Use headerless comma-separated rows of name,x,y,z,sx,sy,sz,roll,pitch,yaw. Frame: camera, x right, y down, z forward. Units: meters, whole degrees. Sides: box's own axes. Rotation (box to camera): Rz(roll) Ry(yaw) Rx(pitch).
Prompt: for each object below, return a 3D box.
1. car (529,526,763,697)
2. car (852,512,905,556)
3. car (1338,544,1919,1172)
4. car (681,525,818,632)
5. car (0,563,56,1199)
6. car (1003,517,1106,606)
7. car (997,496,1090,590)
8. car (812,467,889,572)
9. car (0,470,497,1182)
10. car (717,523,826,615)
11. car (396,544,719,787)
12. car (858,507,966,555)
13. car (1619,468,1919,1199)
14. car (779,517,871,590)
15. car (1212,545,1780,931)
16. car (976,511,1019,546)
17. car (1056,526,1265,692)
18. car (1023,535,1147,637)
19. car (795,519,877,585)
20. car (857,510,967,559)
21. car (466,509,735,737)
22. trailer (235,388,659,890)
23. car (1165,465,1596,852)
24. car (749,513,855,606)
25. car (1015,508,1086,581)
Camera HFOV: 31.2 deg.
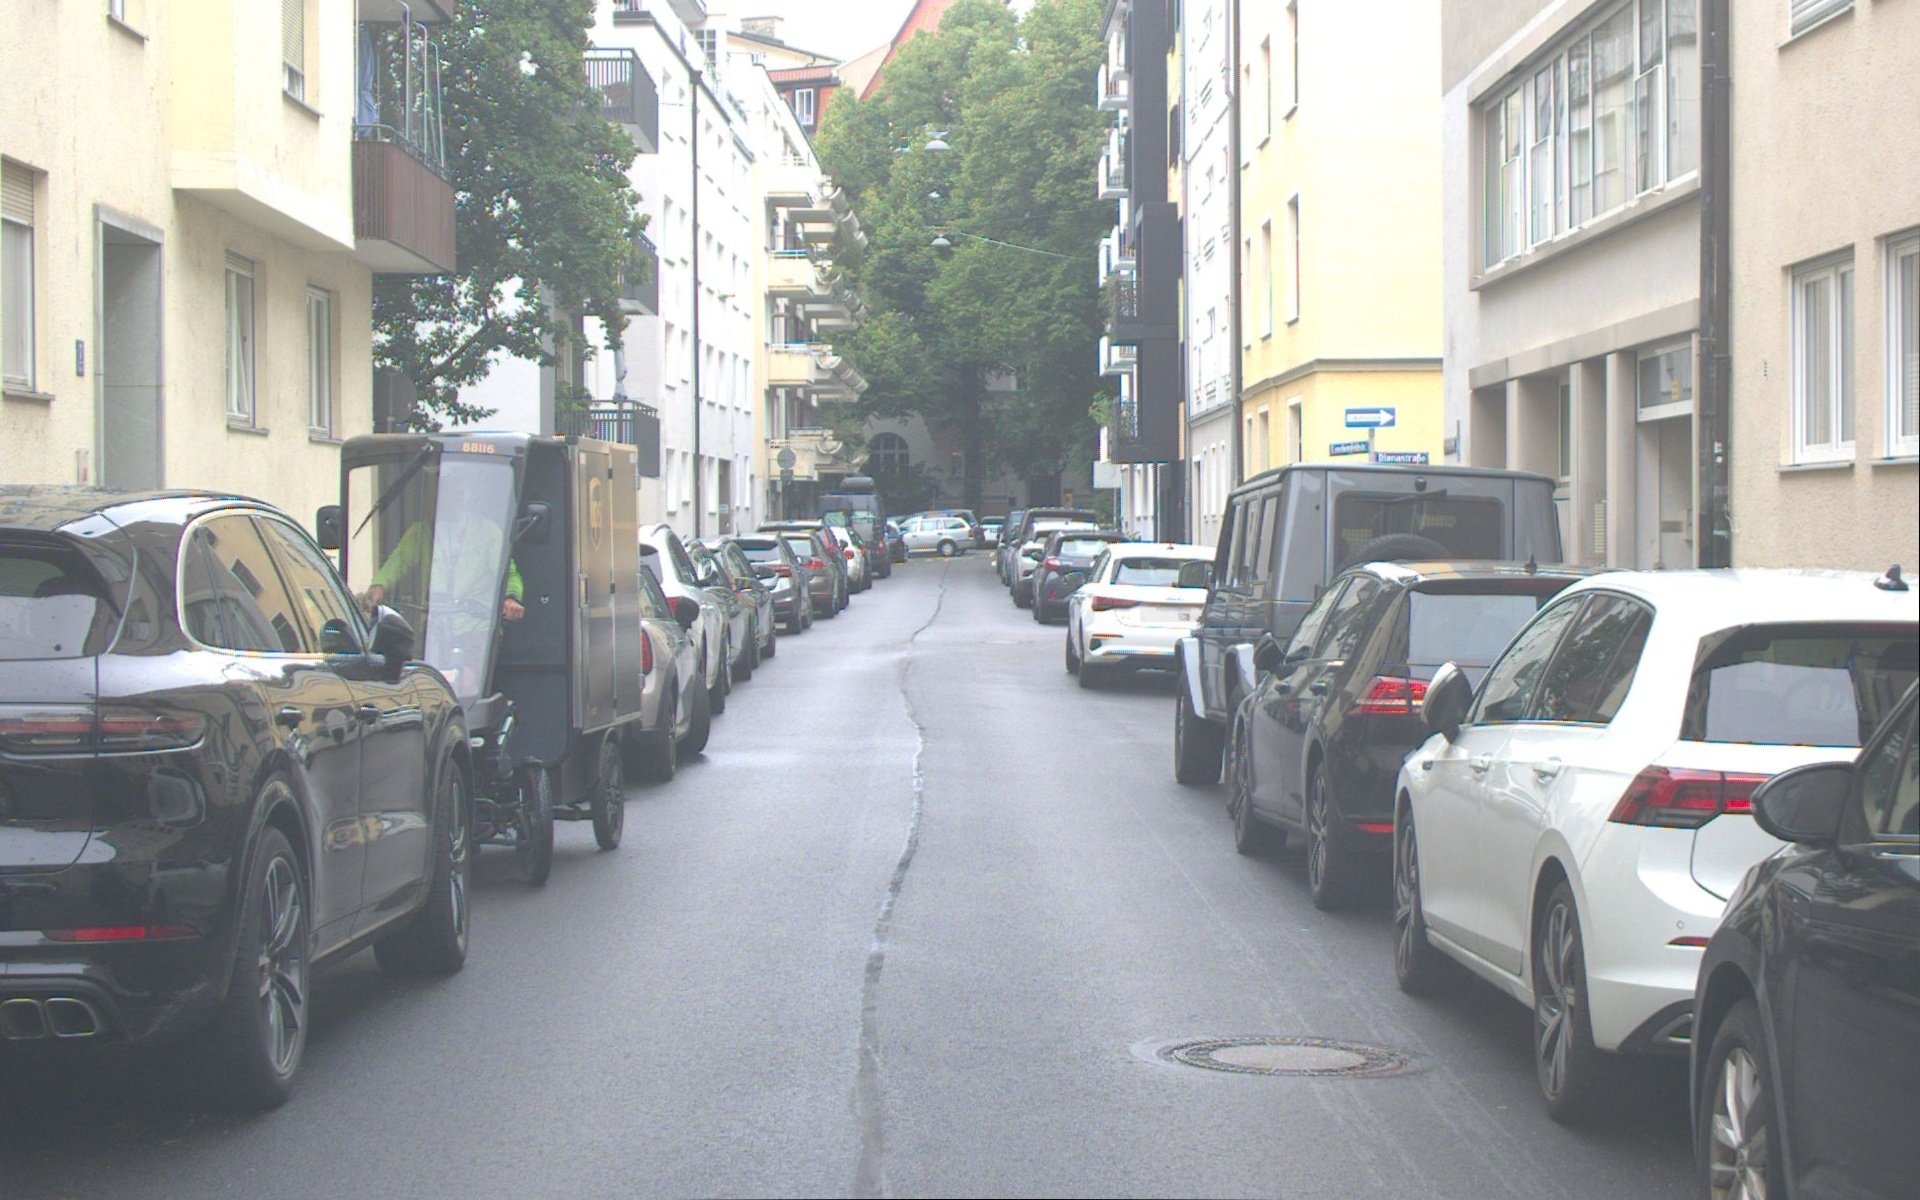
car,-2.977,0.054,33.434,1.766,1.478,4.424,-1,2,1
car,-2.724,-2.238,115.504,1.642,1.379,3.483,-3,1,0
car,2.318,0.593,10.294,1.711,1.481,4.245,1,1,-2
car,-3.038,-0.342,50.163,1.693,1.437,3.942,-1,2,1
car,-2.692,0.697,5.355,1.563,1.455,3.475,-1,1,1
car,1.765,-0.760,65.419,1.682,1.562,4.416,2,2,-1
car,1.742,-1.238,73.164,1.829,1.903,4.416,2,2,0
car,-3.064,-2.279,96.856,1.936,2.792,4.533,-3,1,0
car,-2.675,0.501,10.231,1.879,1.654,4.415,-1,1,1
car,-3.143,-0.551,57.990,1.693,1.437,3.978,-1,2,-1
car,-2.558,0.362,22.600,1.652,1.431,3.803,-1,1,0
car,-1.771,-2.559,127.355,3.885,1.579,1.648,-3,1,-1
car,2.347,0.613,5.140,1.711,1.602,4.245,1,1,-3
car,-3.011,-1.069,77.199,1.777,1.482,4.519,-3,1,1
car,2.246,0.510,15.511,1.711,1.481,4.245,1,1,-2
car,1.551,-2.980,142.681,1.642,1.379,3.746,-3,1,0
car,1.993,0.050,35.242,1.819,1.403,3.953,1,4,-1
car,1.971,-0.264,55.261,1.751,1.464,4.343,2,2,-1
car,-2.937,-1.169,82.221,1.777,1.448,4.046,-3,1,0
car,-1.758,-2.400,125.442,3.885,1.579,1.648,-3,1,-1
car,-2.825,0.134,27.871,1.766,1.669,4.368,-1,1,-1
trailer,-2.305,0.145,16.122,1.355,2.108,3.318,0,1,2
car,2.331,0.246,20.170,1.750,1.968,4.344,2,2,-2
car,-2.910,-0.785,63.979,1.776,1.623,4.415,-1,2,0
car,2.597,-1.634,99.682,1.829,1.992,4.416,3,1,-1
